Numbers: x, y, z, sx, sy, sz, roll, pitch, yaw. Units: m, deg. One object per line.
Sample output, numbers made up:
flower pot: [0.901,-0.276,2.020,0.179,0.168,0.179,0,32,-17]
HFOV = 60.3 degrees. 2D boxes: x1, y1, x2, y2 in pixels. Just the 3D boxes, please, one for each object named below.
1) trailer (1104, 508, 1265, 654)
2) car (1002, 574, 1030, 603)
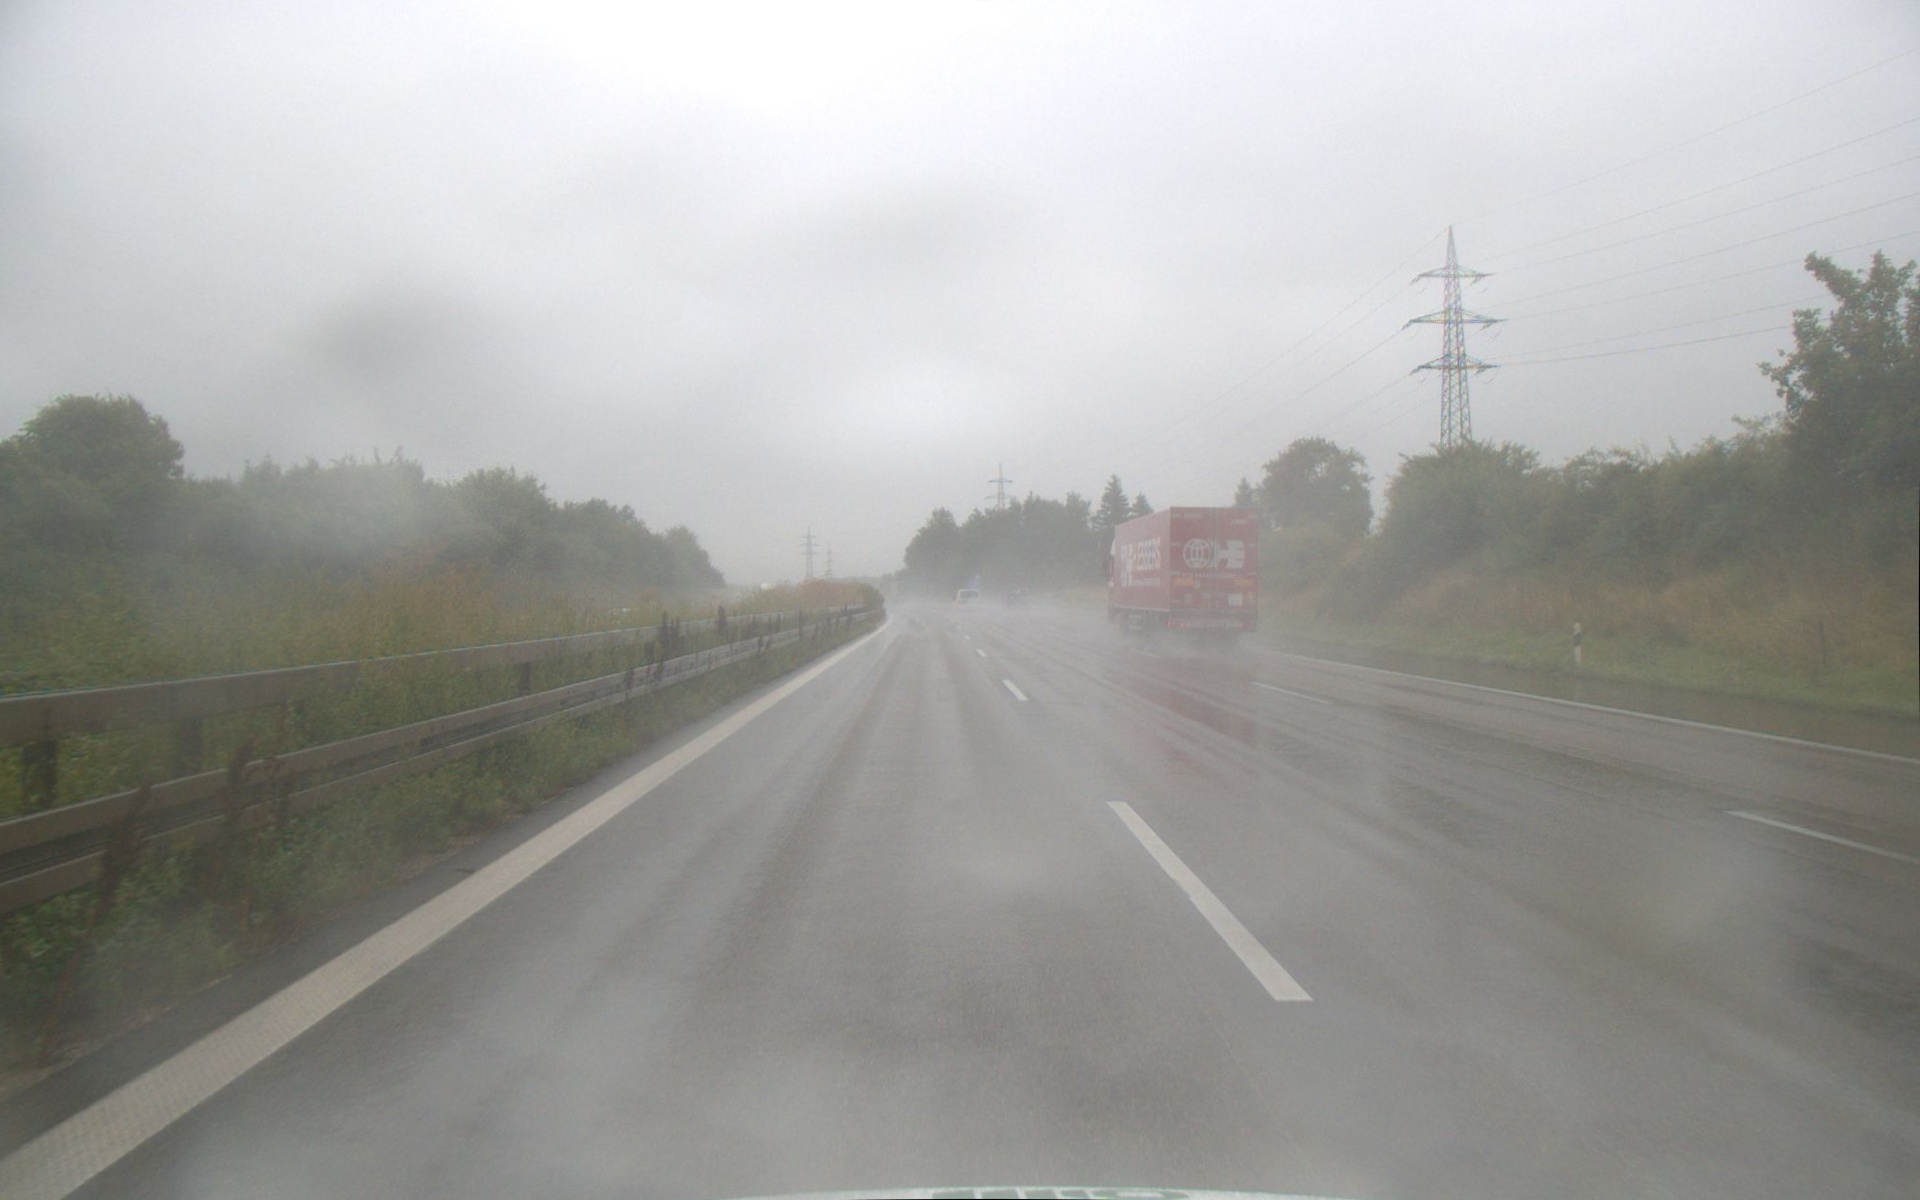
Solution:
trailer: [6.952,-0.553,53.689,2.568,4.024,13.622,-3,0,-3]
car: [4.482,-0.919,133.307,1.772,2.196,3.996,-2,0,-4]
